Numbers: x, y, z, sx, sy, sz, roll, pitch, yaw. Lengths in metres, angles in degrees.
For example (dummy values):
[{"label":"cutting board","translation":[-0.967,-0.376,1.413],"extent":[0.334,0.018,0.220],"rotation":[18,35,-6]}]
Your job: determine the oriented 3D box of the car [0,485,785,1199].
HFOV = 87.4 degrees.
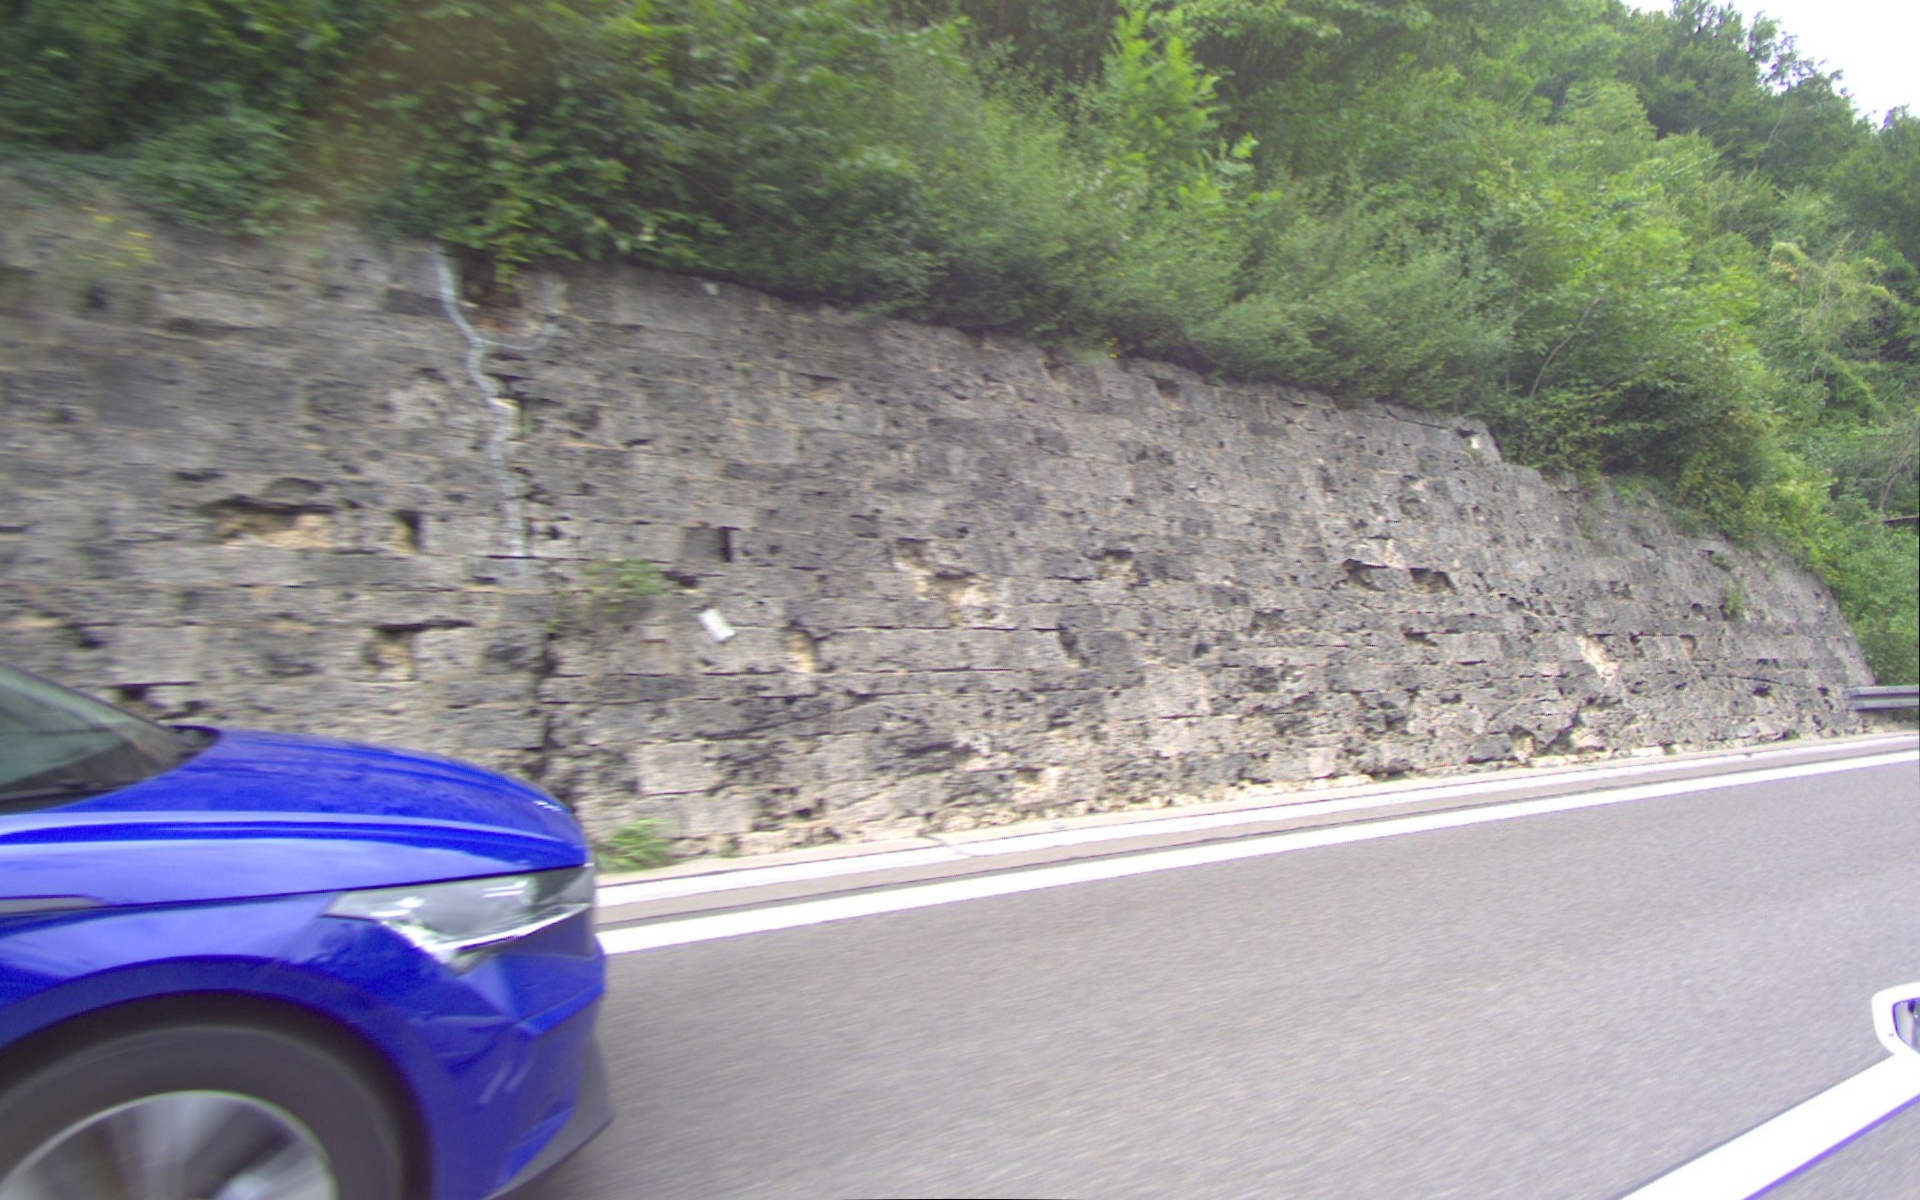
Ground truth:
[{"label":"car","translation":[-3.016,0.617,1.828],"extent":[4.947,1.654,1.985],"rotation":[1,0,-29]}]
